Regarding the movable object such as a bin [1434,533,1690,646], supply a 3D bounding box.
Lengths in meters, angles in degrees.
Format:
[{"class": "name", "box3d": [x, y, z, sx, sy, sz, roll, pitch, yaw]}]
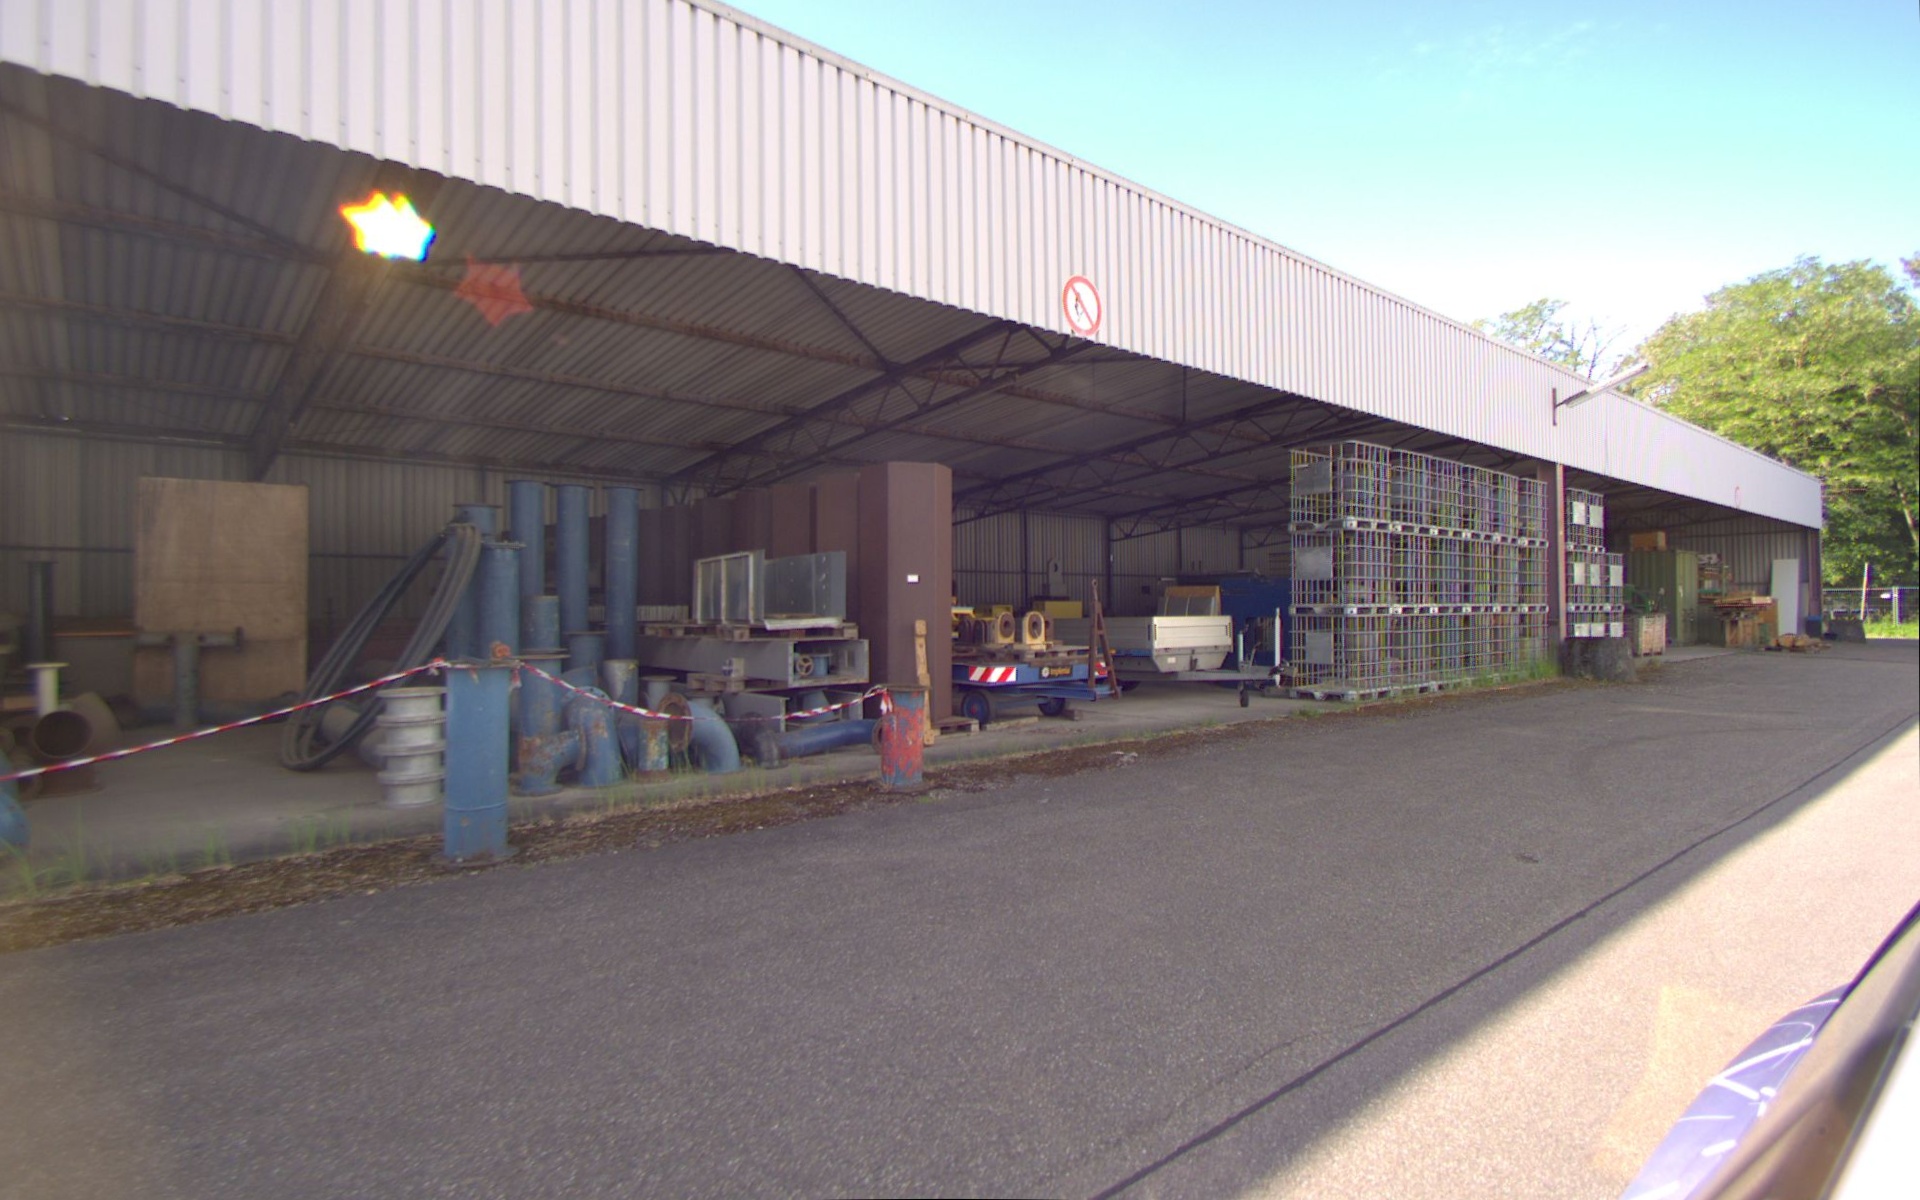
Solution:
[{"class": "movable object such as a bin", "box3d": [17.401, -0.261, 29.549, 2.770, 2.962, 5.845, 0, 0, -40]}]

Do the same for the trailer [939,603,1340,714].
[{"class": "trailer", "box3d": [2.277, 0.683, 14.520, 1.940, 1.200, 5.737, -1, 1, -41]}]

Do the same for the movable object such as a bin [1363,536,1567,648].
[{"class": "movable object such as a bin", "box3d": [14.114, -0.197, 28.461, 2.453, 2.867, 4.535, 0, -1, -40]}]

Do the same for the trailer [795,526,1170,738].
[{"class": "trailer", "box3d": [0.074, 0.273, 12.045, 2.124, 2.015, 4.433, -1, 1, -39]}]
